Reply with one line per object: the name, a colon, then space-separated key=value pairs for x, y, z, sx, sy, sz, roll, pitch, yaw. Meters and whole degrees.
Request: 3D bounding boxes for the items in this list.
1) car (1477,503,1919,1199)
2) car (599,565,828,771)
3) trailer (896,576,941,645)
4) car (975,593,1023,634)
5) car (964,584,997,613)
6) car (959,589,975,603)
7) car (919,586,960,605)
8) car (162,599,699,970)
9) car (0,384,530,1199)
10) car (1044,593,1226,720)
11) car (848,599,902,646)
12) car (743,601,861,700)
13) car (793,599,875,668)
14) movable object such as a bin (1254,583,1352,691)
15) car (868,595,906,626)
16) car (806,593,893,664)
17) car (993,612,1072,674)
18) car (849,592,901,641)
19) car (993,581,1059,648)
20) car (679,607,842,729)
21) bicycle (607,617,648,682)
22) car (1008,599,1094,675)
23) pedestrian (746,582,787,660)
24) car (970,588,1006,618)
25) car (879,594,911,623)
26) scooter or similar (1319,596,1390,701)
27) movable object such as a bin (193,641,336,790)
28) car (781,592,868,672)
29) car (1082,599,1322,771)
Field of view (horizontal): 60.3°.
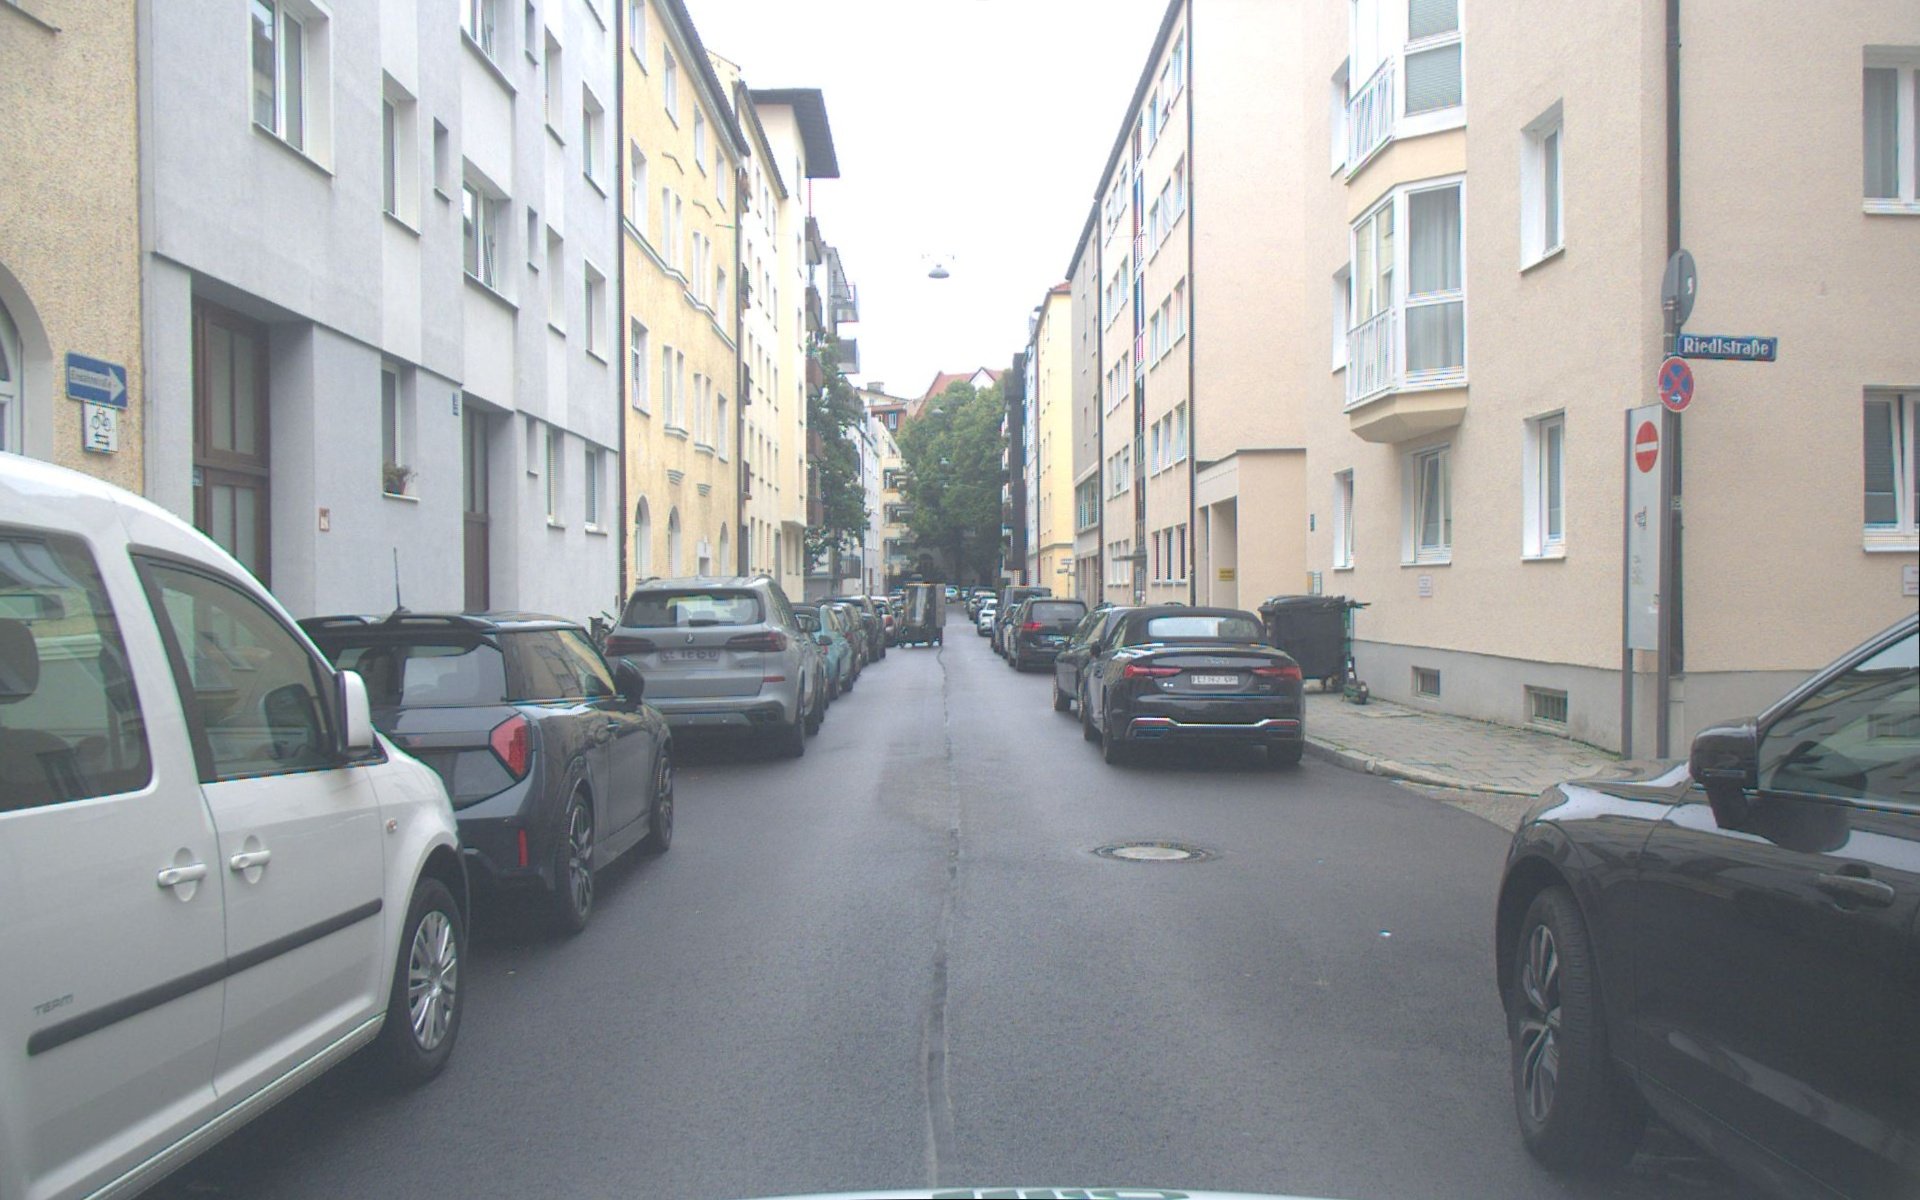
car: x=2.540 y=0.669 z=2.939 sx=1.795 sy=1.650 sz=4.410 roll=1 pitch=0 yaw=-1
car: x=-2.447 y=0.628 z=17.534 sx=1.825 sy=1.801 sz=4.733 roll=-2 pitch=0 yaw=-2
trailer: x=-1.324 y=0.353 z=53.575 sx=1.327 sy=2.153 sz=3.317 roll=-1 pitch=-1 yaw=0
car: x=1.576 y=0.516 z=67.994 sx=1.782 sy=1.432 sz=3.952 roll=1 pitch=3 yaw=-1
car: x=1.197 y=-0.109 z=98.101 sx=1.648 sy=1.595 sz=4.414 roll=2 pitch=1 yaw=-2
car: x=0.706 y=-0.458 z=175.489 sx=1.609 sy=1.407 sz=3.745 roll=-3 pitch=0 yaw=-1
car: x=-1.993 y=-0.469 z=158.251 sx=3.808 sy=1.612 sz=1.647 roll=-3 pitch=0 yaw=-2
car: x=-2.461 y=0.780 z=8.638 sx=1.618 sy=1.436 sz=3.733 roll=-2 pitch=-1 yaw=-1
car: x=-2.438 y=0.591 z=3.775 sx=1.688 sy=1.820 sz=4.249 roll=-2 pitch=-1 yaw=1
car: x=2.214 y=0.690 z=22.081 sx=1.683 sy=1.497 sz=4.528 roll=1 pitch=0 yaw=-3
car: x=-2.811 y=0.727 z=55.285 sx=1.618 sy=1.461 sz=3.802 roll=-1 pitch=0 yaw=0
car: x=-2.545 y=0.781 z=27.299 sx=1.530 sy=1.486 sz=3.404 roll=-1 pitch=0 yaw=1
car: x=-2.862 y=0.744 z=38.155 sx=1.530 sy=1.486 sz=3.476 roll=-1 pitch=0 yaw=1
movable object such as a bin: x=4.907 y=0.516 z=23.759 sx=1.011 sy=1.448 sz=1.586 roll=-2 pitch=0 yaw=-1
car: x=-3.632 y=0.517 z=82.796 sx=1.658 sy=1.467 sz=3.942 roll=-2 pitch=0 yaw=0
car: x=-2.811 y=0.698 z=42.948 sx=1.840 sy=1.689 sz=4.415 roll=-1 pitch=0 yaw=1
car: x=1.854 y=1.088 z=43.444 sx=1.677 sy=1.512 sz=4.242 roll=1 pitch=0 yaw=-3
car: x=-3.081 y=0.591 z=60.618 sx=1.730 sy=1.704 sz=4.366 roll=-1 pitch=0 yaw=-1
car: x=2.092 y=0.422 z=53.294 sx=1.716 sy=2.010 sz=4.341 roll=2 pitch=1 yaw=-3
car: x=-2.609 y=0.847 z=22.506 sx=1.775 sy=1.410 sz=4.249 roll=-2 pitch=0 yaw=-2
bicycle: x=-5.499 y=0.806 z=27.414 sx=0.387 sy=1.049 sz=1.570 roll=0 pitch=0 yaw=-1
car: x=2.032 y=0.808 z=37.952 sx=1.677 sy=1.636 sz=4.243 roll=1 pitch=0 yaw=-1
pedestrian: x=-4.515 y=0.483 z=38.673 sx=0.822 sy=1.795 sz=1.067 roll=0 pitch=0 yaw=-1
car: x=1.466 y=0.147 z=88.231 sx=1.715 sy=1.495 sz=4.342 roll=2 pitch=1 yaw=-1
car: x=-3.555 y=0.441 z=90.733 sx=1.659 sy=1.467 sz=3.976 roll=-2 pitch=0 yaw=-2
scooter or similar: x=5.043 y=0.608 z=21.197 sx=0.564 sy=1.288 sz=1.136 roll=-2 pitch=0 yaw=-1
movable object such as a bin: x=-5.392 y=0.881 z=12.860 sx=0.790 sy=1.069 sz=0.622 roll=3 pitch=0 yaw=-1
car: x=-2.691 y=0.610 z=33.355 sx=1.531 sy=1.486 sz=3.762 roll=-1 pitch=0 yaw=-2
car: x=2.220 y=0.733 z=16.245 sx=1.795 sy=1.430 sz=4.412 roll=1 pitch=0 yaw=1
